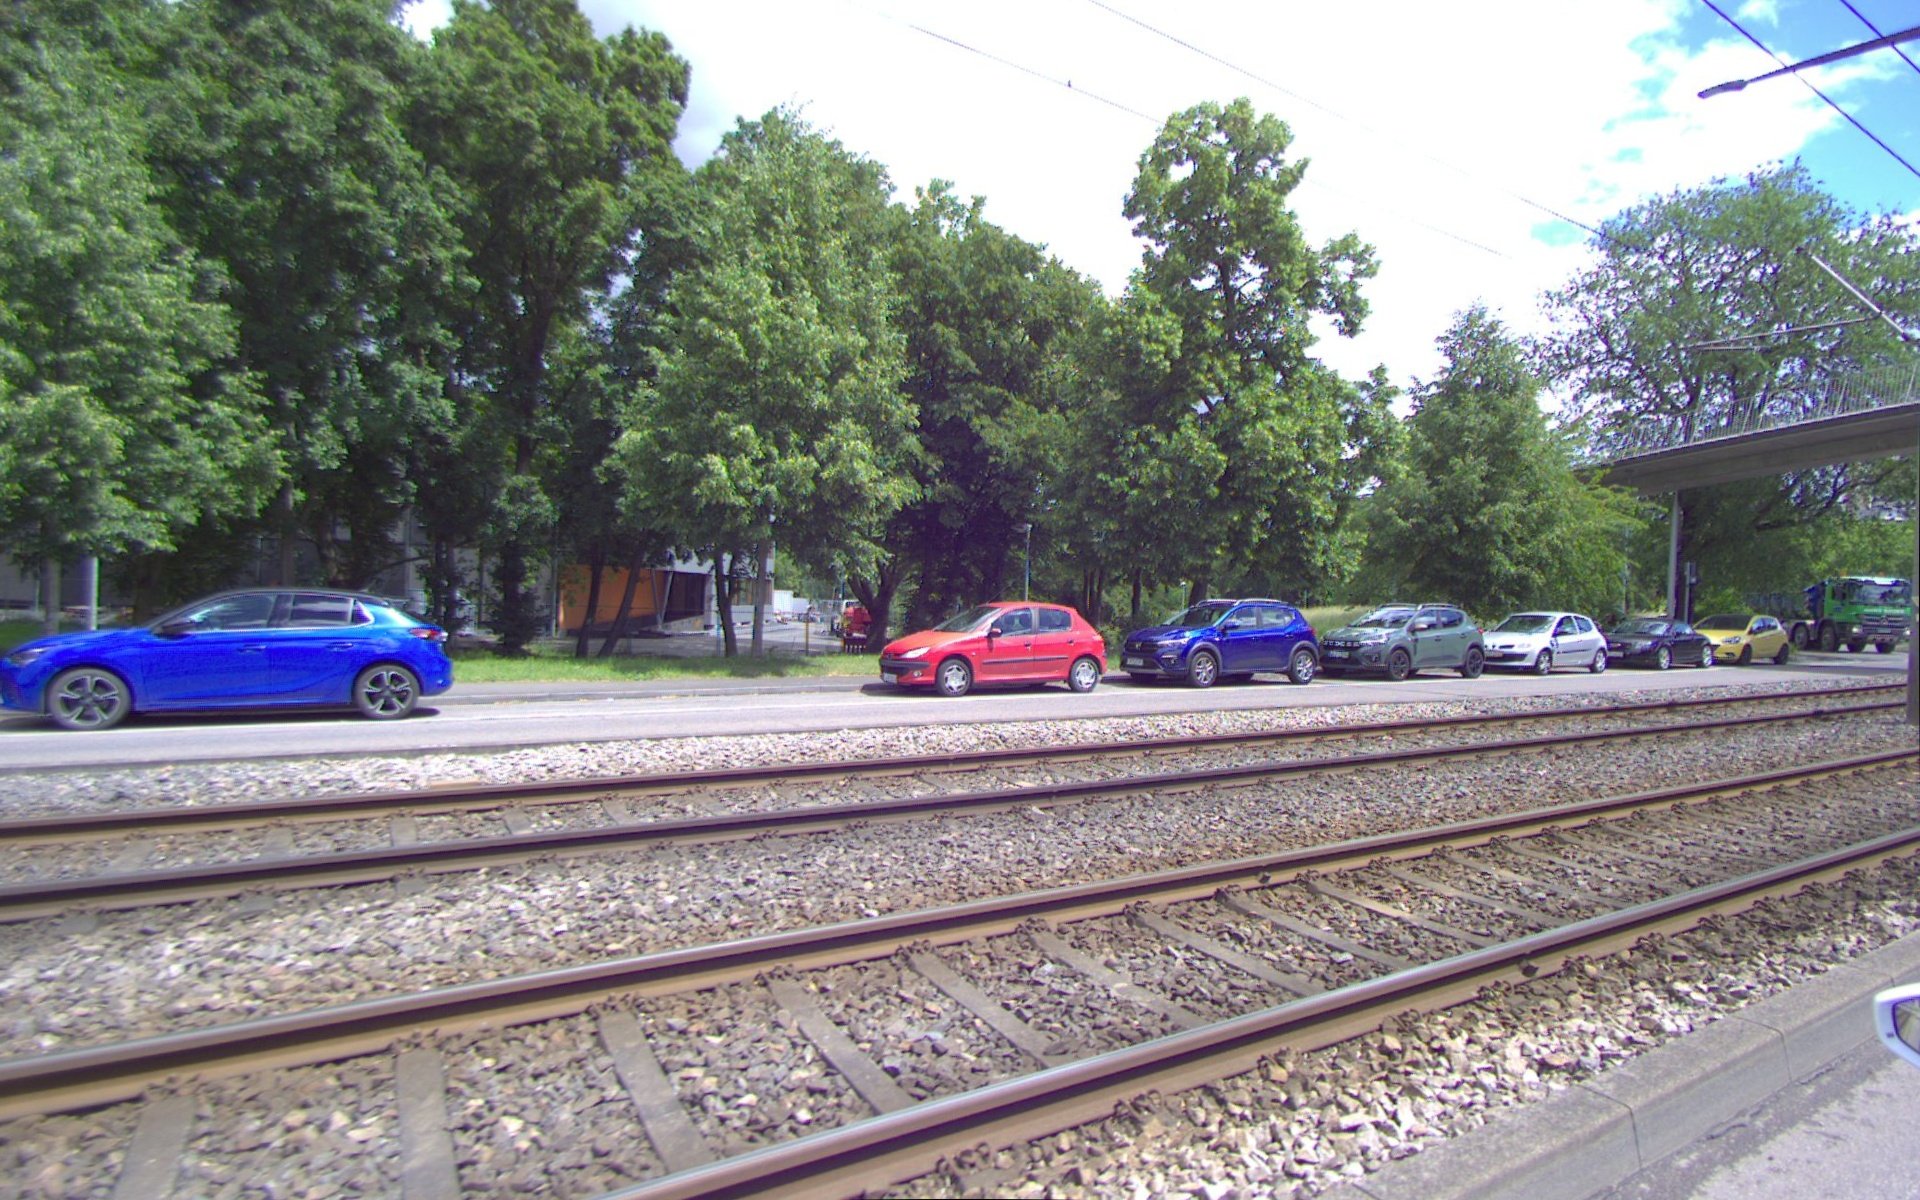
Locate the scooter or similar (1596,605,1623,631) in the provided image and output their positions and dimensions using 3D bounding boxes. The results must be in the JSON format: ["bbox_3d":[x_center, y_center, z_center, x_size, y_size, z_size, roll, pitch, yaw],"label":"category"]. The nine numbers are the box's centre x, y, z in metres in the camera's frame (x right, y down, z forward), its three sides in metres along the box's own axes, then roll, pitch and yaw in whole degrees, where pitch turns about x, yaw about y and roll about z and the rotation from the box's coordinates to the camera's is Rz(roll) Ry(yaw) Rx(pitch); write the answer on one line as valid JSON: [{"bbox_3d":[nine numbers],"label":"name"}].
[{"bbox_3d":[30.253,0.845,46.763,0.778,1.162,0.707,3,1,-29],"label":"scooter or similar"}]

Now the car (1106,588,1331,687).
[{"bbox_3d":[4.858,0.713,18.711,4.112,1.617,1.549,3,1,-31],"label":"car"}]

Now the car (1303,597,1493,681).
[{"bbox_3d":[9.393,0.813,21.452,4.077,1.644,1.634,1,0,-30],"label":"car"}]

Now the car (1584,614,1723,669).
[{"bbox_3d":[18.673,1.096,26.992,4.080,1.378,1.504,1,0,-30],"label":"car"}]

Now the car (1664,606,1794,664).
[{"bbox_3d":[22.841,1.045,29.810,3.853,1.469,1.681,3,1,-30],"label":"car"}]

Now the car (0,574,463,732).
[{"bbox_3d":[-7.755,0.604,11.086,3.960,1.480,1.606,3,-2,-30],"label":"car"}]

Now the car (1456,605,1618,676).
[{"bbox_3d":[13.996,1.000,24.305,4.146,1.514,1.584,3,1,-32],"label":"car"}]

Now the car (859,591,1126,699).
[{"bbox_3d":[0.561,0.740,16.219,3.998,1.513,1.606,3,1,-29],"label":"car"}]

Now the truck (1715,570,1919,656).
[{"bbox_3d":[38.723,0.466,45.817,2.822,3.364,9.035,3,2,10],"label":"truck"}]
